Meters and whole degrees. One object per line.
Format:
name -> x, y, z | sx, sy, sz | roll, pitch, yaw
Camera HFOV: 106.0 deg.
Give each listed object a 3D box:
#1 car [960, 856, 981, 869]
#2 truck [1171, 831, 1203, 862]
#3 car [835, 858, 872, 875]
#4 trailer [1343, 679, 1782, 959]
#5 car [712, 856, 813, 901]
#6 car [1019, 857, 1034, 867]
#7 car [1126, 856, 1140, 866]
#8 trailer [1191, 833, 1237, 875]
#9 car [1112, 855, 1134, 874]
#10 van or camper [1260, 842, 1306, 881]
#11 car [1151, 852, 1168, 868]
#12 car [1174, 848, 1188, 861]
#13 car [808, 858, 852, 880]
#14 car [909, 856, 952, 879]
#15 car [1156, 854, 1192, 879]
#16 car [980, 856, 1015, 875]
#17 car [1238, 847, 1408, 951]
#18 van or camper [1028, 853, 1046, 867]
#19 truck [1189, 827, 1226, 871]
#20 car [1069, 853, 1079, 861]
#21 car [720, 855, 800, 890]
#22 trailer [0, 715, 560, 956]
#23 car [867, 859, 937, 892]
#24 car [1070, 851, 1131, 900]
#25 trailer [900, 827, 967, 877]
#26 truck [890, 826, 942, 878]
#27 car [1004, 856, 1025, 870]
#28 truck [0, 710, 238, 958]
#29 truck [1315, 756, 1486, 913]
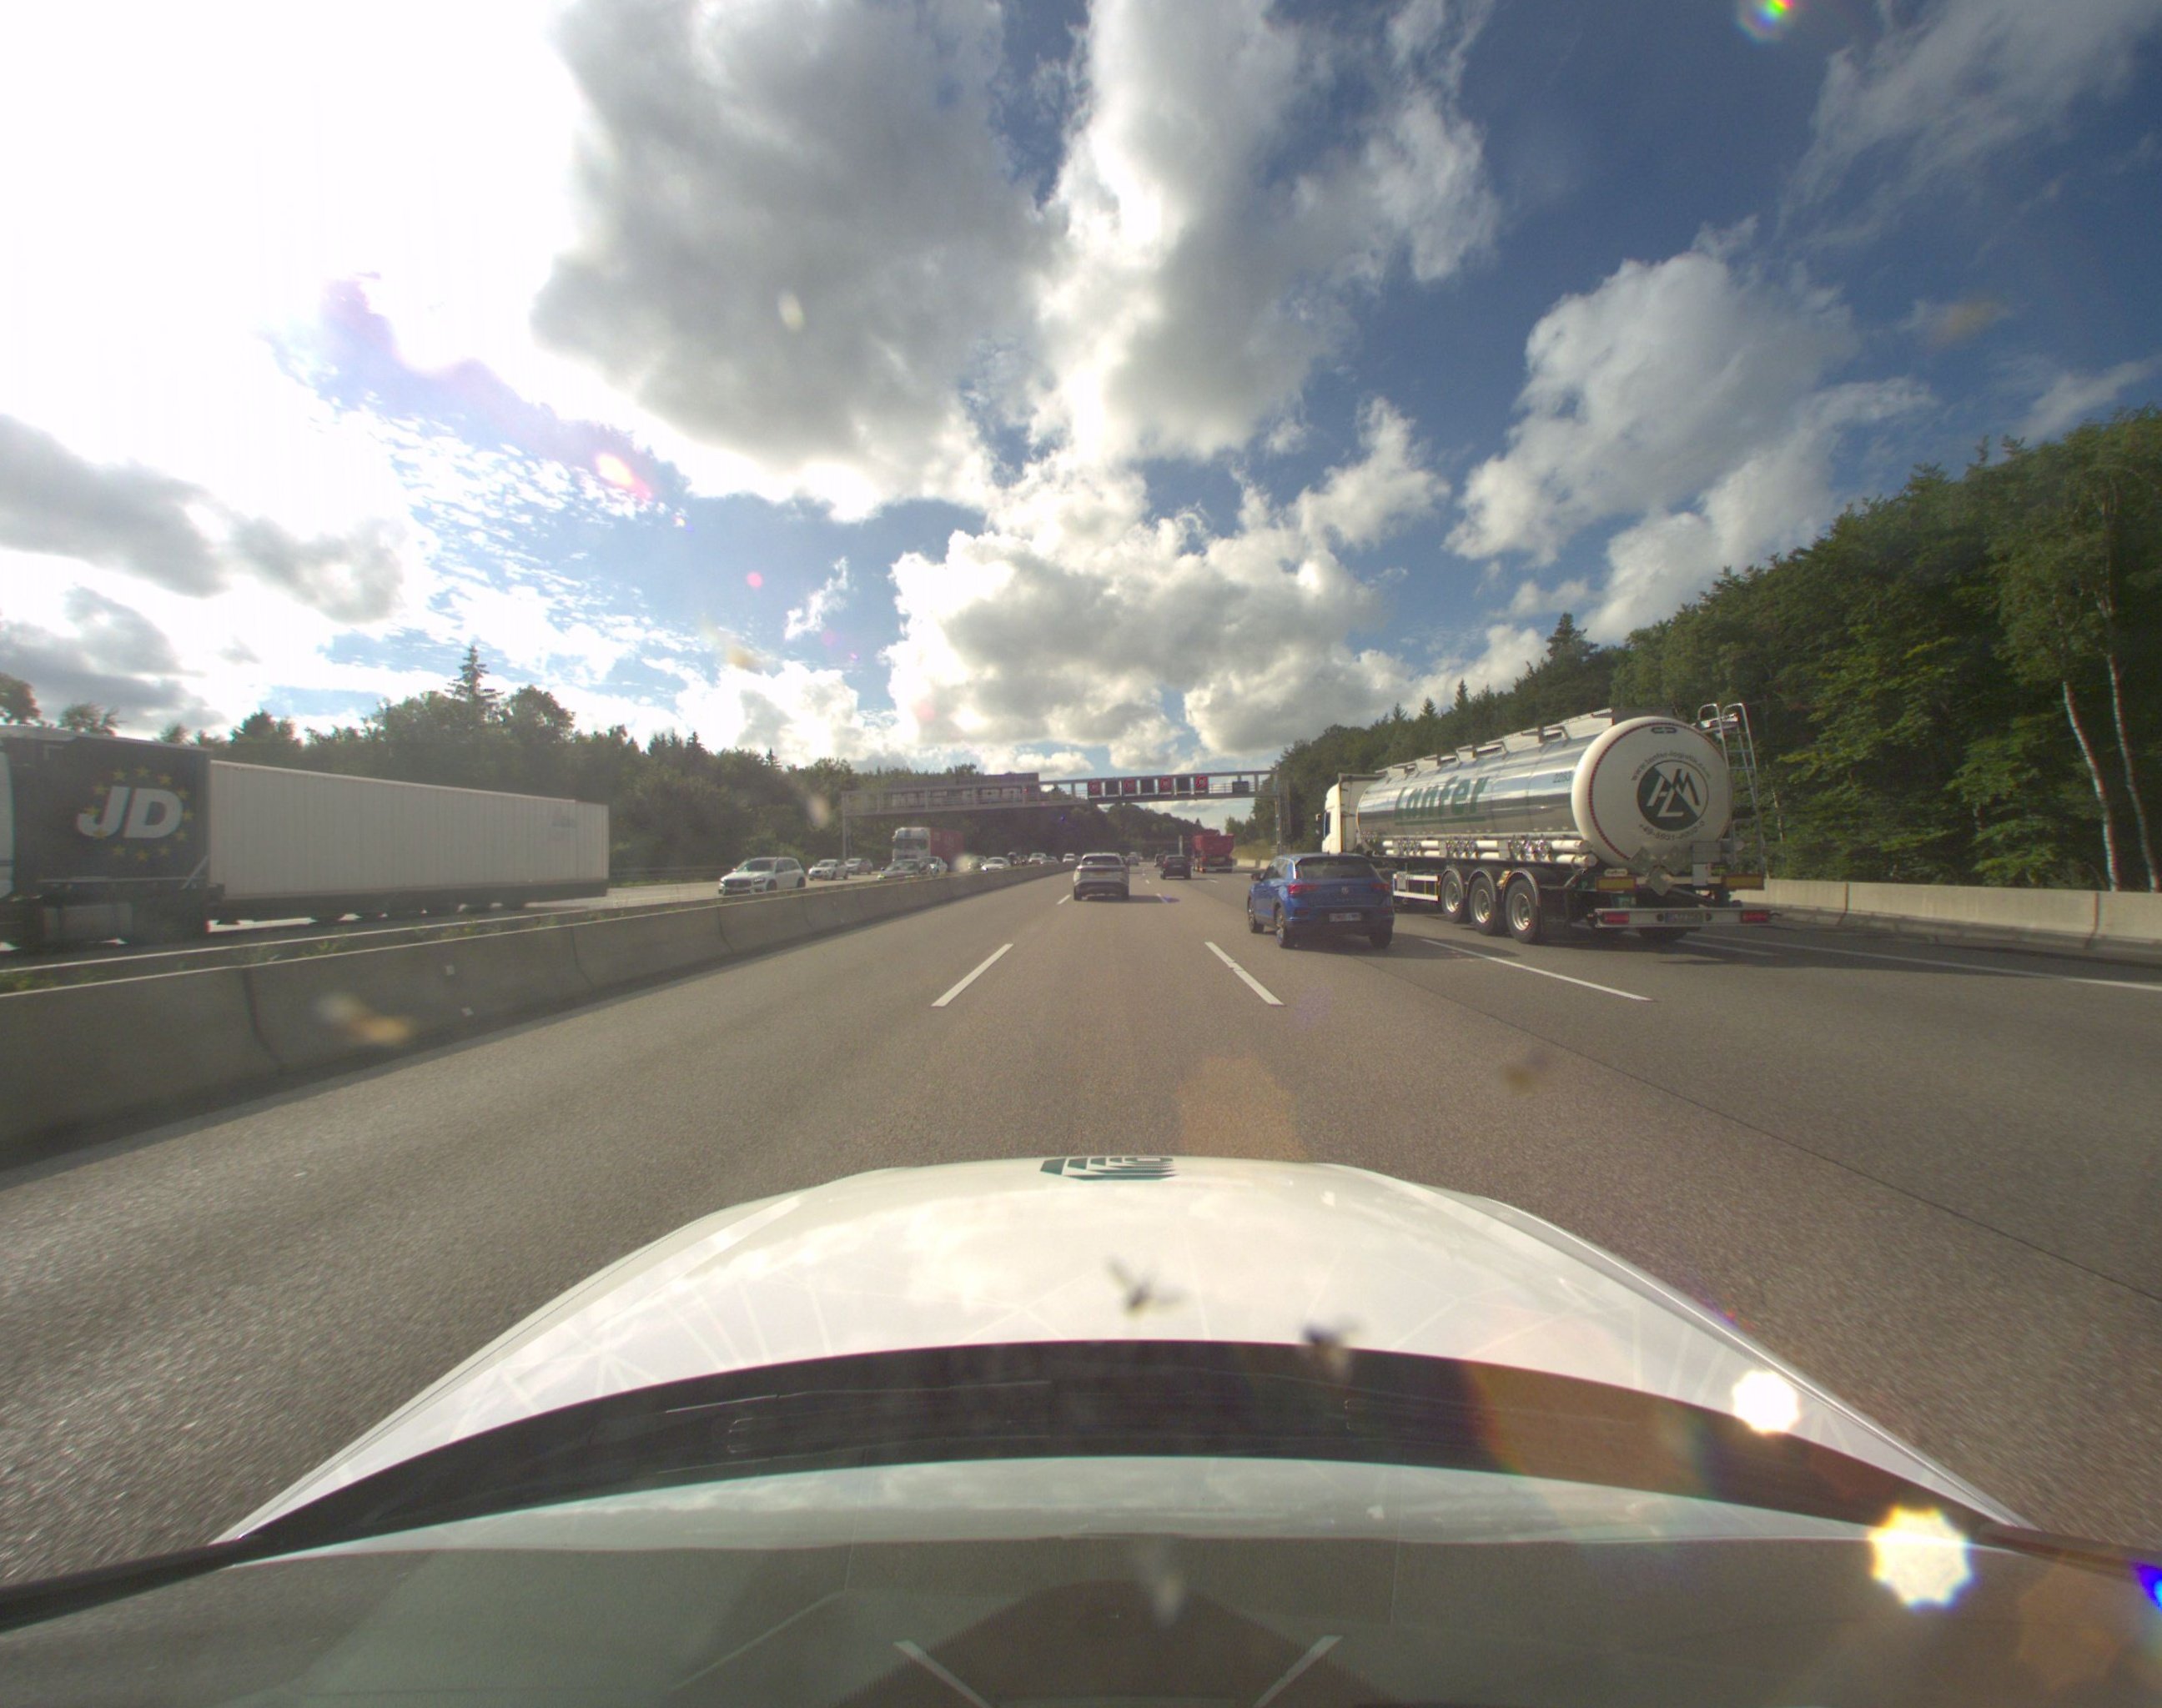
car -> -12.727, 1.000, 93.931 | 1.631, 1.416, 4.003 | 0, 0, 3
truck -> 13.957, -0.911, 107.590 | 3.107, 3.935, 10.414 | -1, 0, 1
car -> -20.592, 1.128, 73.862 | 1.986, 1.437, 4.281 | 0, 0, 2
trailer -> 8.497, -0.481, 17.101 | 2.638, 3.767, 11.868 | -2, 0, 3
car -> -12.230, 0.875, 31.649 | 1.701, 1.594, 4.948 | -1, 0, 4
car -> -8.158, 1.151, 121.628 | 1.630, 1.416, 4.005 | -1, 0, 4
car -> 7.311, 0.998, 114.750 | 1.813, 1.457, 4.006 | -1, -1, 6
trailer -> 11.011, 0.010, 68.256 | 2.699, 3.231, 9.740 | -1, 0, 3
car -> 3.538, 0.839, 69.206 | 1.815, 1.546, 4.003 | -1, 0, 3
van or camper -> 12.576, 0.438, 50.938 | 1.815, 2.307, 4.941 | -1, 0, 2
car -> 9.411, 0.743, 97.678 | 1.885, 1.857, 4.106 | -1, 0, 5
car -> 14.761, 0.032, 120.014 | 1.884, 1.857, 4.106 | 0, 0, 5
car -> -17.851, 1.041, 58.060 | 1.618, 1.426, 4.288 | -1, 0, 3
car -> -10.491, 0.927, 57.218 | 1.850, 1.525, 4.998 | -1, 0, 2
car -> 5.800, 0.771, 51.052 | 1.816, 1.457, 4.000 | -1, 0, 0
car -> -6.411, 0.867, 62.975 | 1.761, 1.442, 4.858 | 0, 0, 6
car -> 4.055, 0.705, 14.448 | 1.767, 1.530, 4.458 | -1, -1, 1
van or camper -> -6.032, 0.758, 112.373 | 1.854, 1.850, 5.158 | -1, 0, 3
truck -> 11.269, -0.431, 72.875 | 2.699, 3.718, 5.822 | -1, 0, 3
car -> -1.469, 0.638, 177.665 | 1.657, 1.640, 4.489 | -1, 0, 8
car -> -15.830, 0.880, 40.481 | 1.786, 1.617, 5.048 | -1, 0, 3
trailer -> -19.614, -0.294, 20.934 | 3.307, 4.106, 14.152 | -1, 0, 0
car -> -8.041, 0.931, 37.104 | 1.986, 1.362, 4.622 | 0, 0, 2
car -> 0.709, 0.732, 29.775 | 1.999, 1.616, 5.302 | 0, 0, 1
trailer -> -13.183, -0.132, 74.142 | 2.727, 4.106, 13.431 | -1, 0, 4
truck -> -13.641, -0.169, 67.634 | 2.727, 4.106, 5.771 | -1, 0, 4
car -> -7.680, 1.009, 94.572 | 1.690, 1.528, 4.691 | -1, 0, 5
truck -> -19.575, -0.315, 14.170 | 3.307, 4.106, 6.224 | -1, 0, 0
truck -> 8.775, -0.485, 23.168 | 2.638, 3.823, 6.086 | -2, 0, 3
